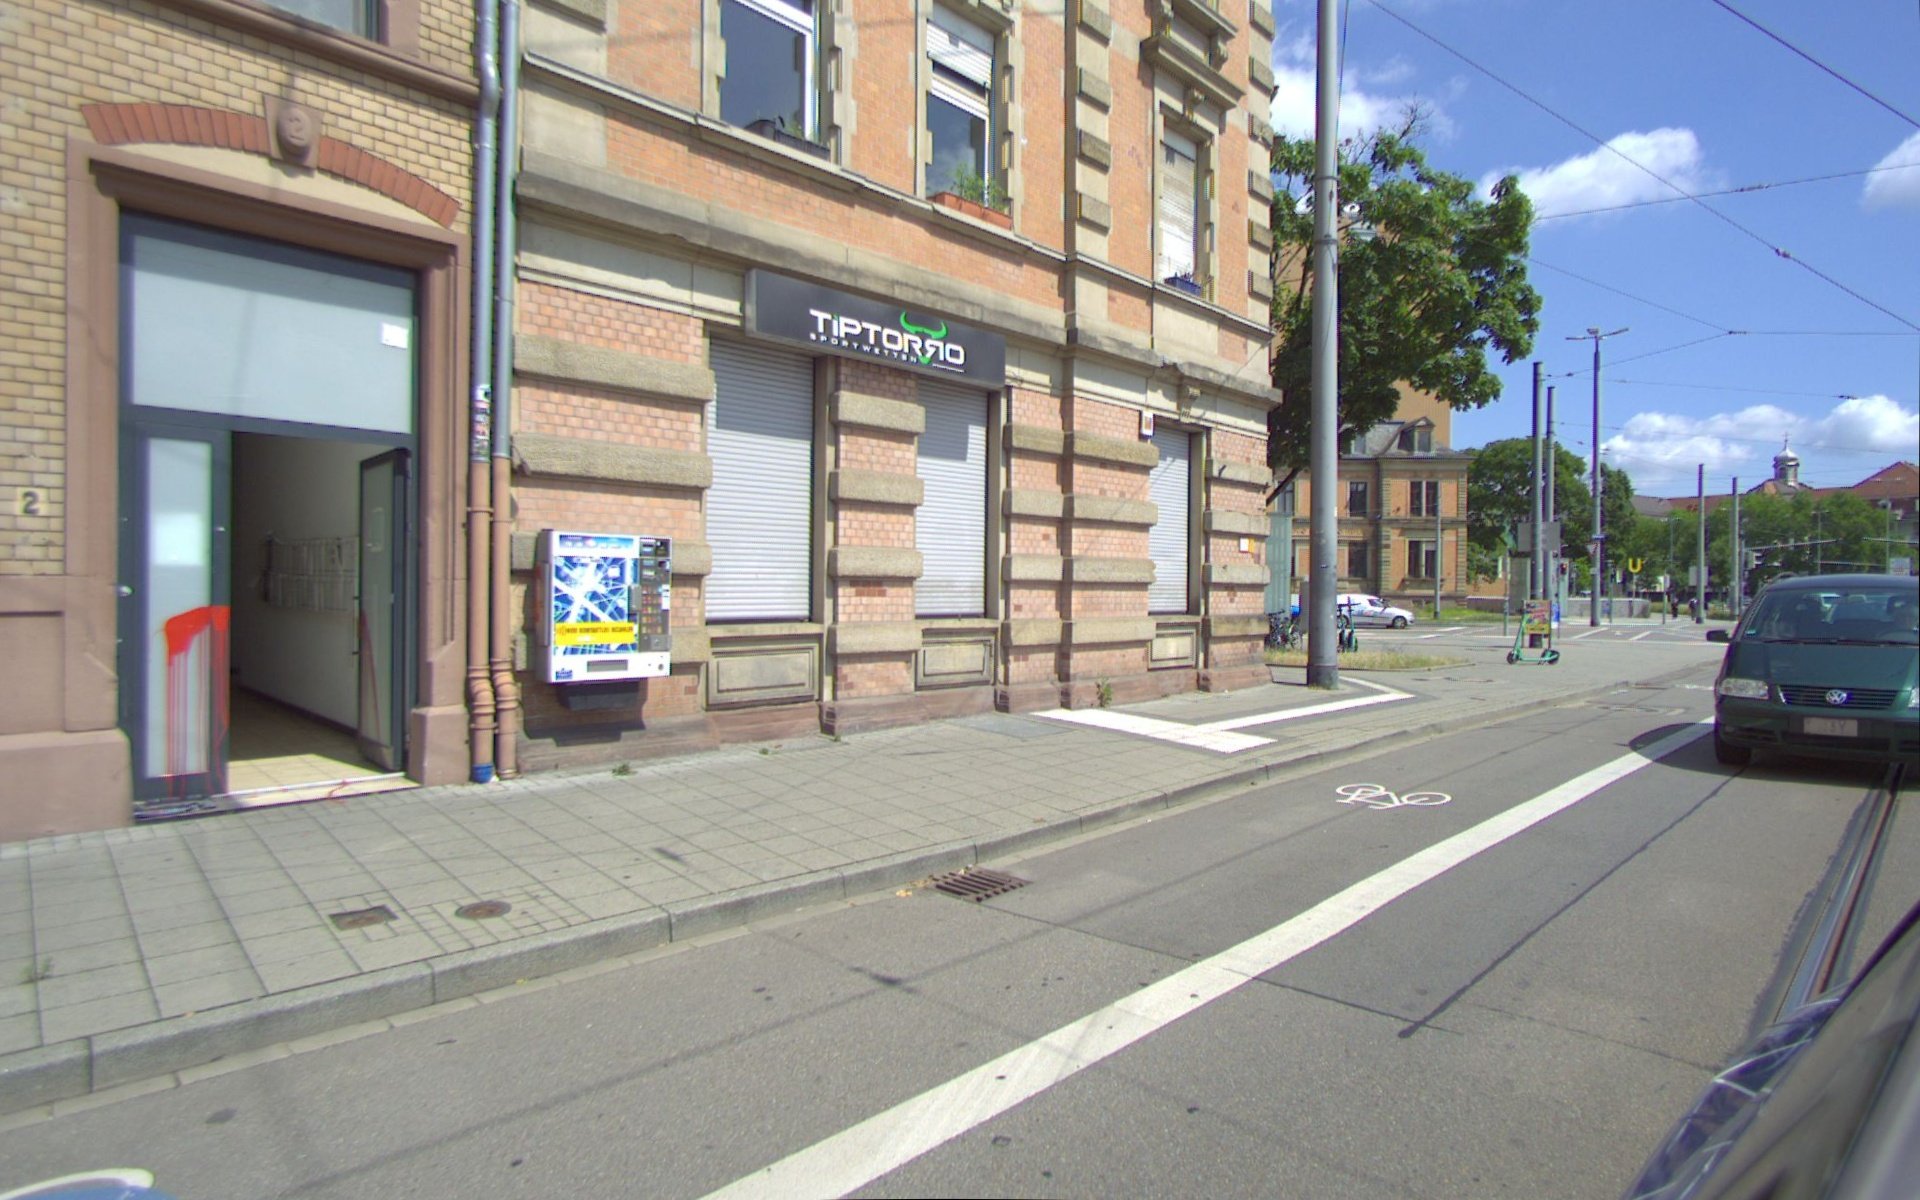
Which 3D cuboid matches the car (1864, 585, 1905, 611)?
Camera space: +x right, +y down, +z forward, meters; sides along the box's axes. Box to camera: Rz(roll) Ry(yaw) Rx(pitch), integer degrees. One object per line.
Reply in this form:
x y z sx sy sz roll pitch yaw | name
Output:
76.260 -0.184 83.542 1.802 2.039 3.954 1 1 32 | car

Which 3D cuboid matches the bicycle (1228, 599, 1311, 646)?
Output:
7.923 0.539 25.870 2.224 1.095 1.026 0 2 -42 | bicycle

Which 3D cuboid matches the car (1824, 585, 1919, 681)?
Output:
17.524 0.557 18.938 1.867 1.637 4.358 -2 -1 43 | car

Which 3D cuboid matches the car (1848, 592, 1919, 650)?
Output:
26.257 0.534 28.320 1.865 1.504 4.365 1 1 38 | car

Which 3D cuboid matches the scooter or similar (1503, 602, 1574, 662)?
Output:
12.181 0.648 21.320 1.066 1.194 0.950 0 2 -38 | scooter or similar

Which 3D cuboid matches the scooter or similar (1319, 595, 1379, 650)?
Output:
9.293 0.516 24.147 0.946 1.218 1.371 2 2 39 | scooter or similar

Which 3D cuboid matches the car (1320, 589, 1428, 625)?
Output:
19.341 0.295 47.446 4.352 1.607 1.870 1 1 8 | car

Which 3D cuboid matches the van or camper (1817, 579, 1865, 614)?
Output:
74.361 -0.289 85.502 2.217 2.770 5.455 1 0 33 | van or camper

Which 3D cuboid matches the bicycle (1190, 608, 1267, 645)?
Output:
7.073 0.677 26.572 2.248 0.890 0.843 0 2 -42 | bicycle

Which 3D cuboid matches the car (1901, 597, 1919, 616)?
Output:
72.962 0.514 76.829 1.661 1.393 3.867 1 0 34 | car

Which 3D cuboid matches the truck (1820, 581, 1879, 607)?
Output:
107.977 -0.726 123.013 3.324 3.036 8.652 1 1 27 | truck

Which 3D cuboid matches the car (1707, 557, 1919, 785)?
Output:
8.472 0.530 9.449 4.018 1.739 1.815 0 1 -45 | car

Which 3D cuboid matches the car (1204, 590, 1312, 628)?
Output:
13.235 0.380 45.184 4.353 1.570 1.870 1 2 9 | car
